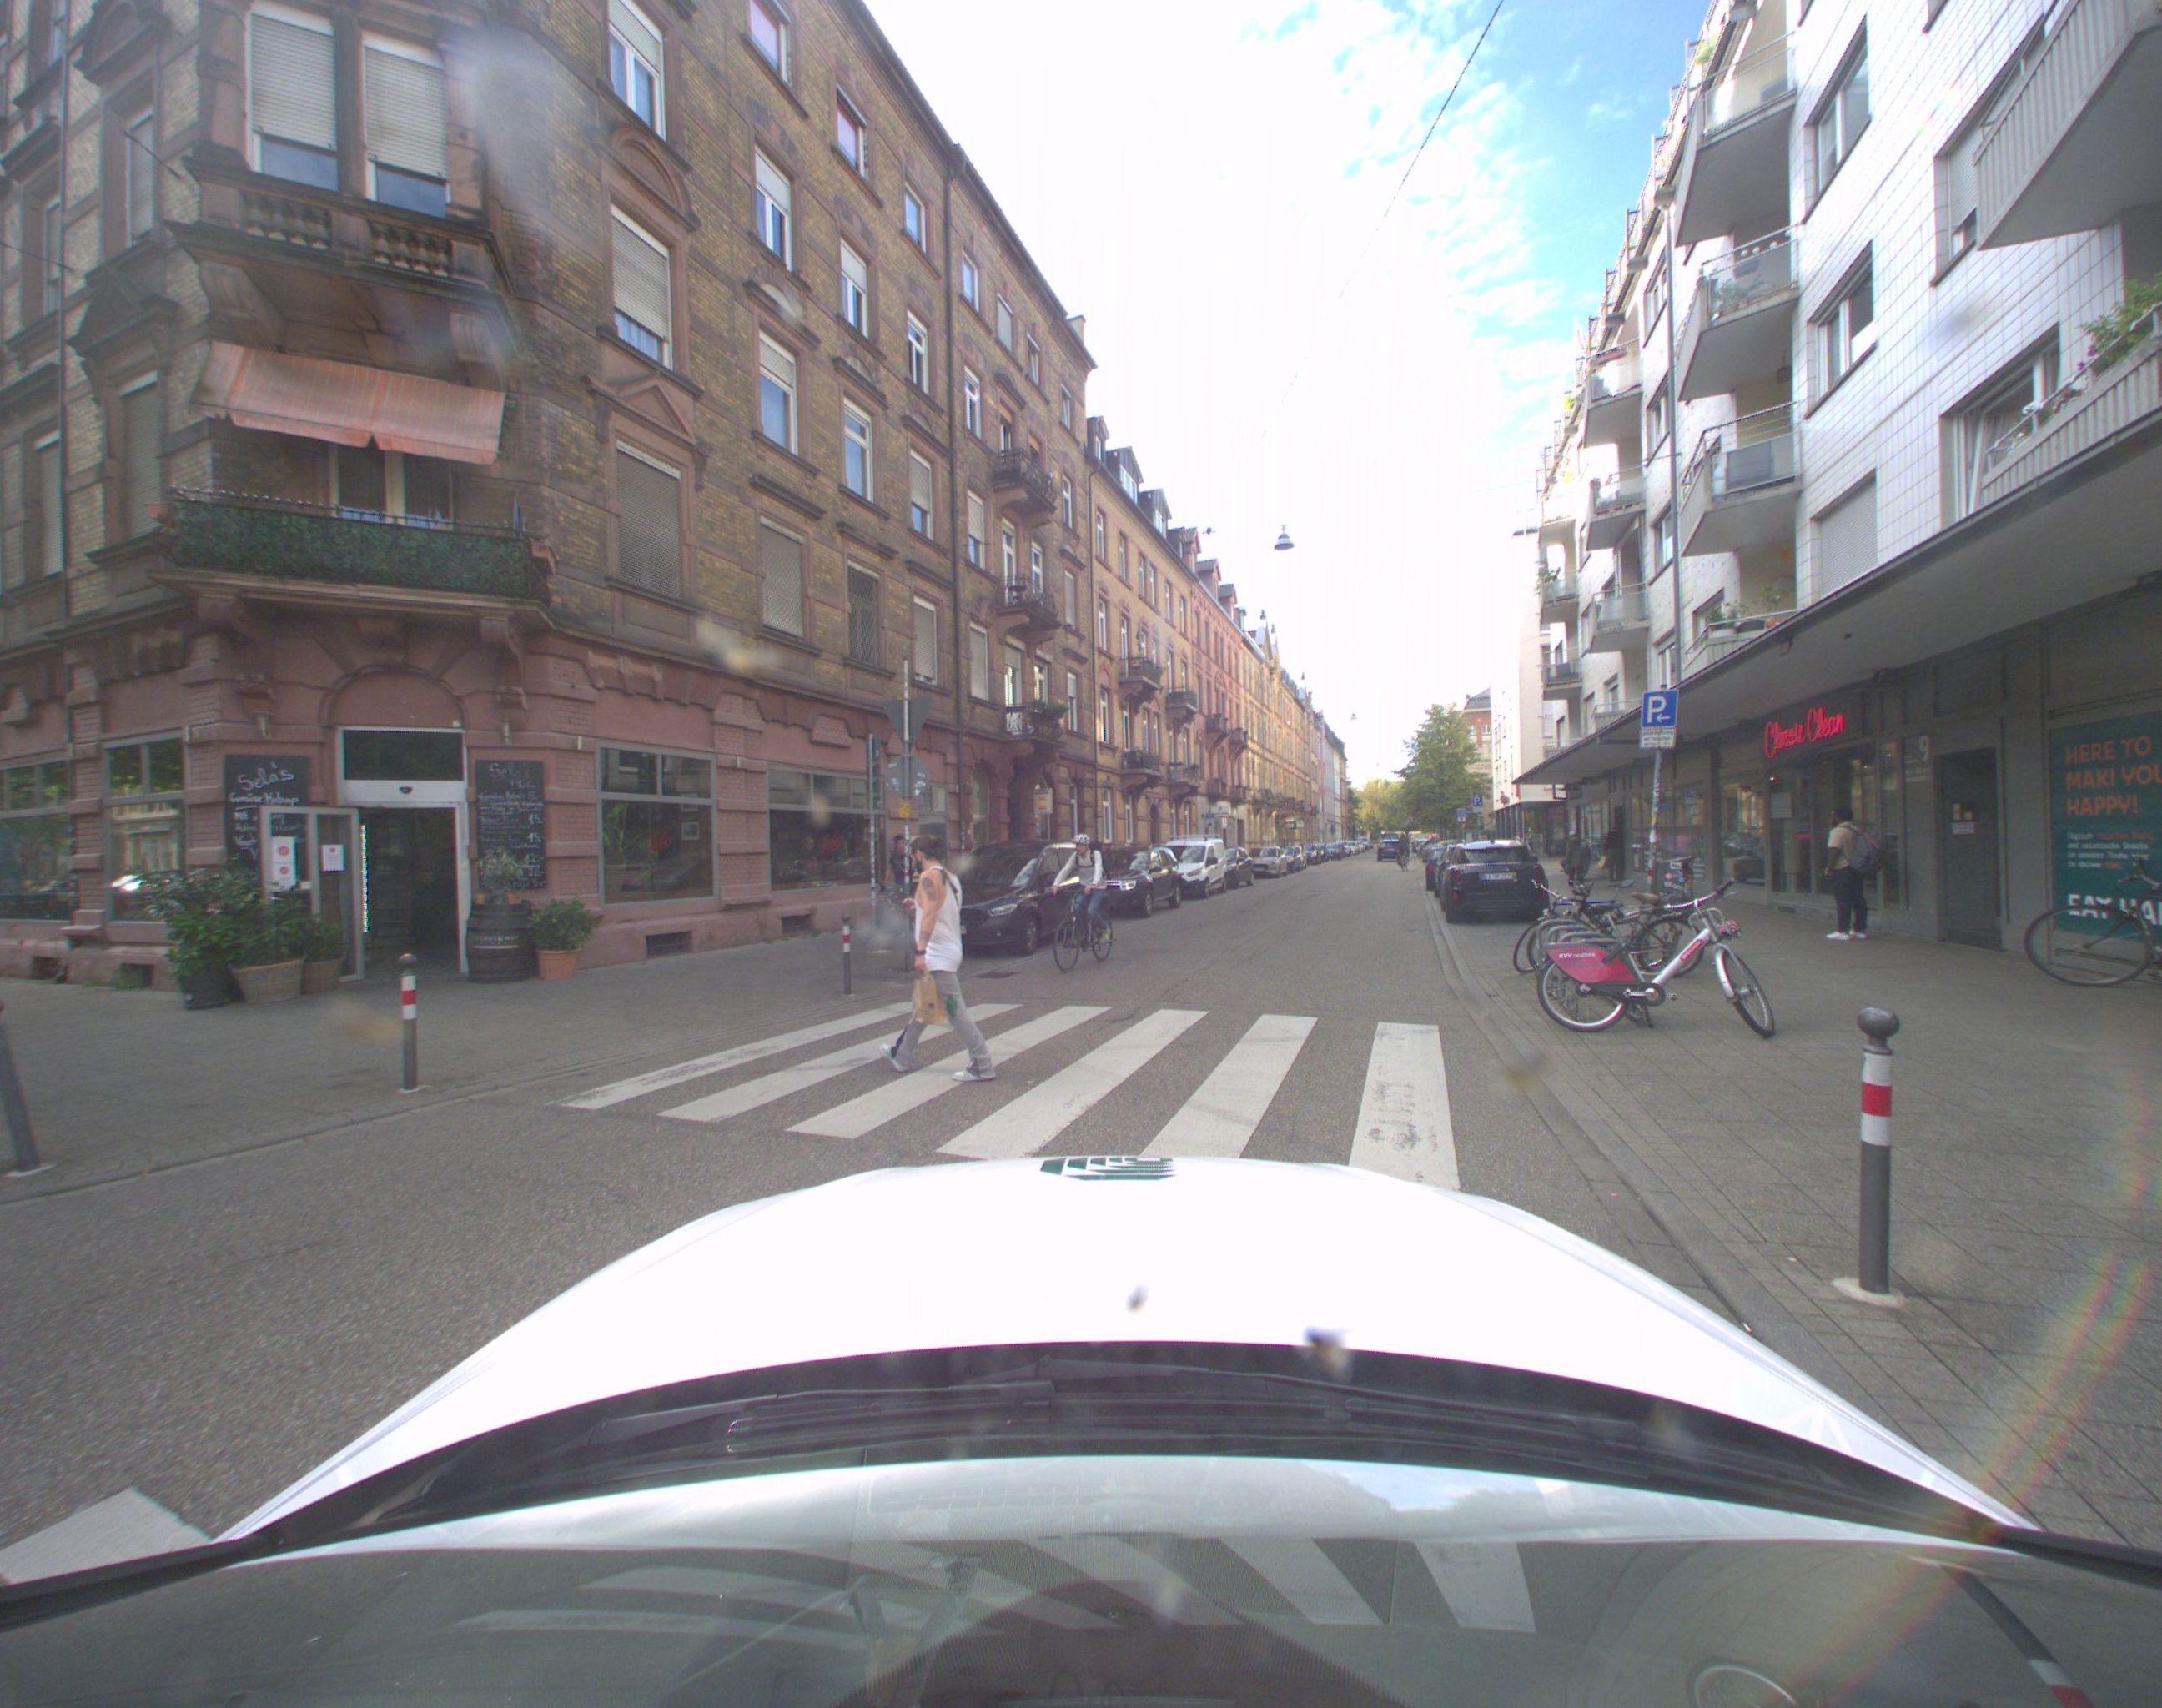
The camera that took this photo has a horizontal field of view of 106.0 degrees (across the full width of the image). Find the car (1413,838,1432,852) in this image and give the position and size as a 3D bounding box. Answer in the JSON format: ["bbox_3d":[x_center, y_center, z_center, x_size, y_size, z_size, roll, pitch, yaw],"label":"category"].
[{"bbox_3d":[39.099,-1.042,93.293,1.913,1.638,4.022,0,1,22],"label":"car"}]

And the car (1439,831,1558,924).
[{"bbox_3d":[8.386,0.411,16.675,1.776,1.605,3.946,-4,0,23],"label":"car"}]

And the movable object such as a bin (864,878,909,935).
[{"bbox_3d":[-2.594,0.691,10.884,0.380,0.714,0.478,0,1,18],"label":"movable object such as a bin"}]

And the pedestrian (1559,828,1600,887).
[{"bbox_3d":[13.795,0.099,22.560,0.816,1.588,0.785,-2,0,24],"label":"pedestrian"}]

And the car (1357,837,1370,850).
[{"bbox_3d":[42.874,-1.605,123.396,1.675,1.821,3.888,0,1,21],"label":"car"}]

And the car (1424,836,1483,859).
[{"bbox_3d":[28.233,-0.461,61.771,3.735,1.546,1.736,-3,-1,12],"label":"car"}]

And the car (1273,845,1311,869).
[{"bbox_3d":[12.428,0.157,47.838,1.675,1.386,3.888,0,0,23],"label":"car"}]

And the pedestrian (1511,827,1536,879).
[{"bbox_3d":[15.163,-0.058,27.931,0.606,1.726,1.133,-2,1,23],"label":"pedestrian"}]

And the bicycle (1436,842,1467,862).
[{"bbox_3d":[24.553,-0.124,53.943,1.778,1.159,0.503,-4,0,25],"label":"bicycle"}]

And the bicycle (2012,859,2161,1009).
[{"bbox_3d":[8.397,0.586,6.338,0.735,1.015,1.793,-4,-1,22],"label":"bicycle"}]

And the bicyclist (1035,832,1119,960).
[{"bbox_3d":[-0.034,0.552,11.336,0.694,1.677,1.118,-4,0,22],"label":"bicyclist"}]

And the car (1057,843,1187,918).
[{"bbox_3d":[1.141,0.563,20.087,1.976,1.638,4.167,-1,1,21],"label":"car"}]

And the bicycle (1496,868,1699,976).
[{"bbox_3d":[5.690,0.752,9.067,1.776,1.070,0.589,-4,0,12],"label":"bicycle"}]

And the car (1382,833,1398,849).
[{"bbox_3d":[38.512,-1.627,101.465,1.767,2.019,3.908,0,1,21],"label":"car"}]

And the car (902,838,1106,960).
[{"bbox_3d":[-1.123,0.610,14.236,1.745,1.773,4.429,1,1,21],"label":"car"}]

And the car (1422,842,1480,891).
[{"bbox_3d":[12.286,0.357,27.146,1.581,1.439,4.053,-2,0,23],"label":"car"}]

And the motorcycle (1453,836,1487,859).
[{"bbox_3d":[28.293,-0.470,59.267,2.130,1.530,0.690,-4,0,26],"label":"motorcycle"}]

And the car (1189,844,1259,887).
[{"bbox_3d":[5.482,0.400,30.792,1.726,1.483,4.005,0,0,23],"label":"car"}]

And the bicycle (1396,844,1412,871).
[{"bbox_3d":[15.799,0.143,39.821,0.712,1.274,1.894,0,1,23],"label":"bicycle"}]

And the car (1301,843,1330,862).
[{"bbox_3d":[17.796,-0.141,61.799,1.675,1.437,3.888,0,0,23],"label":"car"}]

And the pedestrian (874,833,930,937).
[{"bbox_3d":[-3.295,0.542,15.048,0.671,1.840,0.861,1,1,17],"label":"pedestrian"}]

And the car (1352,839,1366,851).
[{"bbox_3d":[36.954,-1.240,108.230,1.675,1.550,3.888,0,1,21],"label":"car"}]

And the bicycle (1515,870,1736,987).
[{"bbox_3d":[5.589,0.768,8.445,1.776,1.070,0.571,-4,0,12],"label":"bicycle"}]

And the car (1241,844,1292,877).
[{"bbox_3d":[9.028,0.290,39.414,1.726,1.483,4.005,0,0,23],"label":"car"}]

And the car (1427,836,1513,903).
[{"bbox_3d":[10.157,0.354,21.516,1.674,1.577,3.922,-2,0,21],"label":"car"}]

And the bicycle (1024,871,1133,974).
[{"bbox_3d":[0.022,0.902,11.402,0.694,1.220,2.128,-4,0,22],"label":"bicycle"}]

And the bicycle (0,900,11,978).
[{"bbox_3d":[-15.764,1.177,11.391,1.762,1.067,0.531,0,0,22],"label":"bicycle"}]

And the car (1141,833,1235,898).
[{"bbox_3d":[3.483,0.302,25.846,1.903,1.871,4.460,-1,1,21],"label":"car"}]

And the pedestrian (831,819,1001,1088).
[{"bbox_3d":[-1.086,0.631,5.593,1.017,1.671,0.803,-2,-1,-6],"label":"pedestrian"}]

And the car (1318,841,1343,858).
[{"bbox_3d":[21.856,-0.386,71.324,1.675,1.369,3.888,3,2,23],"label":"car"}]

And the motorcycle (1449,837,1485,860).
[{"bbox_3d":[26.830,-0.391,56.592,2.130,1.434,0.770,-4,0,26],"label":"motorcycle"}]

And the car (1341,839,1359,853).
[{"bbox_3d":[31.079,-0.907,94.033,1.675,1.550,3.888,0,1,21],"label":"car"}]

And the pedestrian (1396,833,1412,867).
[{"bbox_3d":[15.774,-0.203,39.764,0.712,1.650,0.935,0,1,23],"label":"pedestrian"}]

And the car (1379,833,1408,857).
[{"bbox_3d":[23.289,-0.661,60.588,1.948,1.740,4.063,0,0,22],"label":"car"}]

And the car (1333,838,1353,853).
[{"bbox_3d":[26.665,-0.870,82.777,1.675,1.550,3.888,1,1,22],"label":"car"}]

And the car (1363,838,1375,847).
[{"bbox_3d":[48.704,-1.948,137.615,1.675,1.550,3.888,0,1,21],"label":"car"}]

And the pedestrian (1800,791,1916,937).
[{"bbox_3d":[9.812,0.120,10.326,0.708,1.747,0.821,-4,0,20],"label":"pedestrian"}]

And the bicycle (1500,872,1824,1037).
[{"bbox_3d":[4.470,0.777,6.474,1.866,1.125,0.912,-4,0,20],"label":"bicycle"}]

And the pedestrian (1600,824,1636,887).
[{"bbox_3d":[15.991,0.039,24.259,0.648,1.860,0.701,-2,0,-39],"label":"pedestrian"}]

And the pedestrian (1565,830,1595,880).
[{"bbox_3d":[16.127,0.030,26.332,0.638,1.588,0.785,-3,-1,24],"label":"pedestrian"}]

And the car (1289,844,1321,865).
[{"bbox_3d":[15.419,0.001,55.924,1.675,1.386,3.888,0,0,23],"label":"car"}]

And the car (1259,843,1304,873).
[{"bbox_3d":[10.842,0.186,43.824,1.726,1.483,4.005,0,0,23],"label":"car"}]
